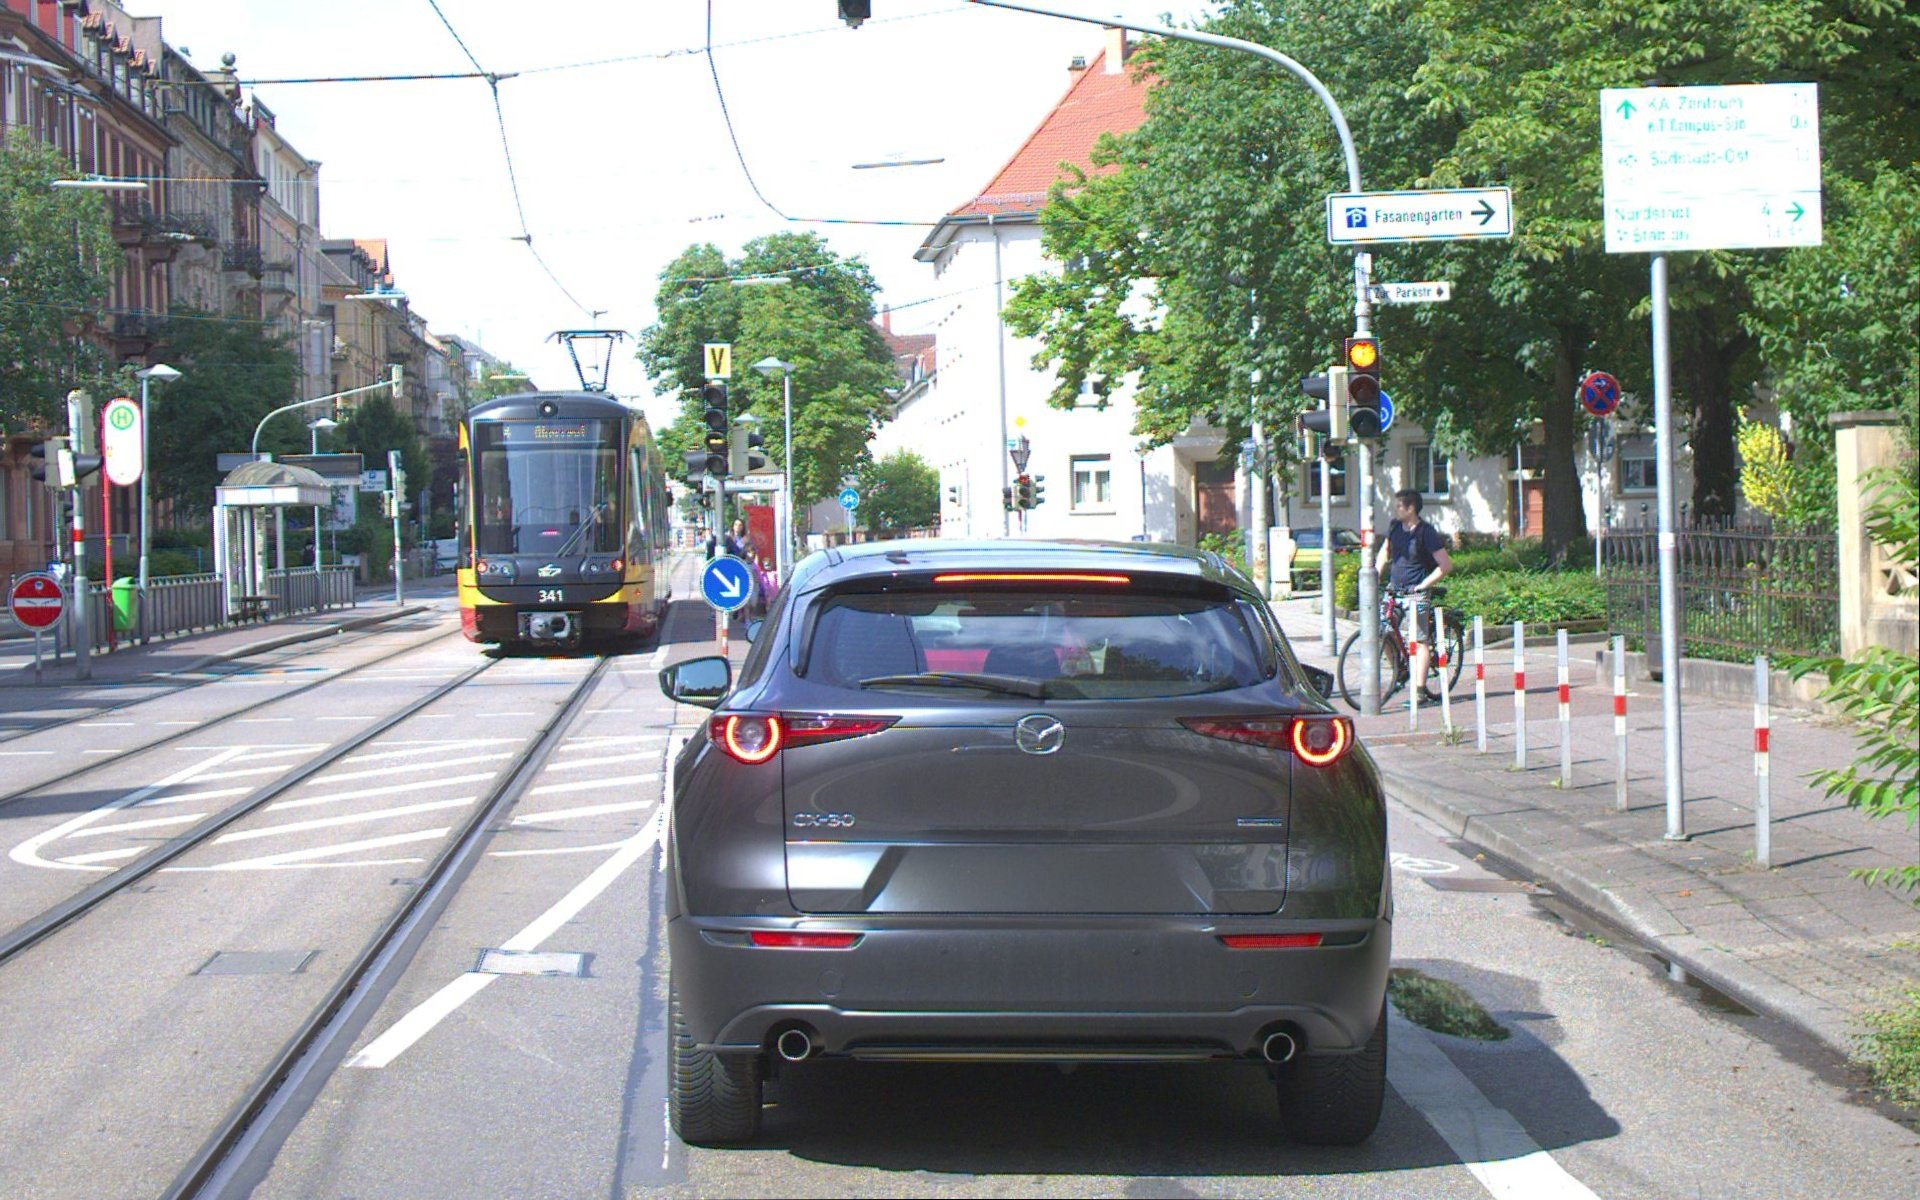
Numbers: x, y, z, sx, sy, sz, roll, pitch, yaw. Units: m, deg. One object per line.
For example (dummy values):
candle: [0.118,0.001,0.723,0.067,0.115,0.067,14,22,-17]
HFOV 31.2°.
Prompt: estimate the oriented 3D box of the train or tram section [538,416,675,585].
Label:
train or tram section: [-8.014,-2.348,79.386,2.752,3.478,14.411,-1,2,-5]

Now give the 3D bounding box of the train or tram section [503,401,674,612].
train or tram section: [-6.845,-1.835,65.032,2.752,3.478,14.411,-1,2,-5]

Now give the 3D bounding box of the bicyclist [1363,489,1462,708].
bicyclist: [3.755,-0.017,28.552,0.608,1.786,0.658,-1,1,-10]

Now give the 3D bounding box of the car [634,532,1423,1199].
car: [0.120,0.569,9.830,1.778,1.494,4.000,1,1,-1]

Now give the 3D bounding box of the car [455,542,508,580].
car: [-17.166,-1.423,123.538,1.614,1.305,3.628,-1,1,-4]

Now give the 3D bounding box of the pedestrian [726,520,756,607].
pedestrian: [-3.631,-0.607,56.930,0.450,1.429,0.474,-1,1,-5]

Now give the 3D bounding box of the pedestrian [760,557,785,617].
pedestrian: [-3.110,-0.223,57.117,0.379,0.981,0.474,-1,1,-5]

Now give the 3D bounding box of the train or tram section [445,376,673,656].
train or tram section: [-5.674,-1.320,50.678,2.752,3.478,14.411,-1,2,-5]

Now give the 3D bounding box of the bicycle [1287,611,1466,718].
bicycle: [3.519,0.532,28.968,1.694,0.821,0.494,-2,1,-42]

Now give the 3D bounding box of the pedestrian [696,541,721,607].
pedestrian: [-4.166,-0.434,56.860,0.379,1.067,0.474,-1,1,-5]

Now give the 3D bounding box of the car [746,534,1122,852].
car: [-0.161,0.408,18.472,1.778,1.494,4.000,1,1,-1]
